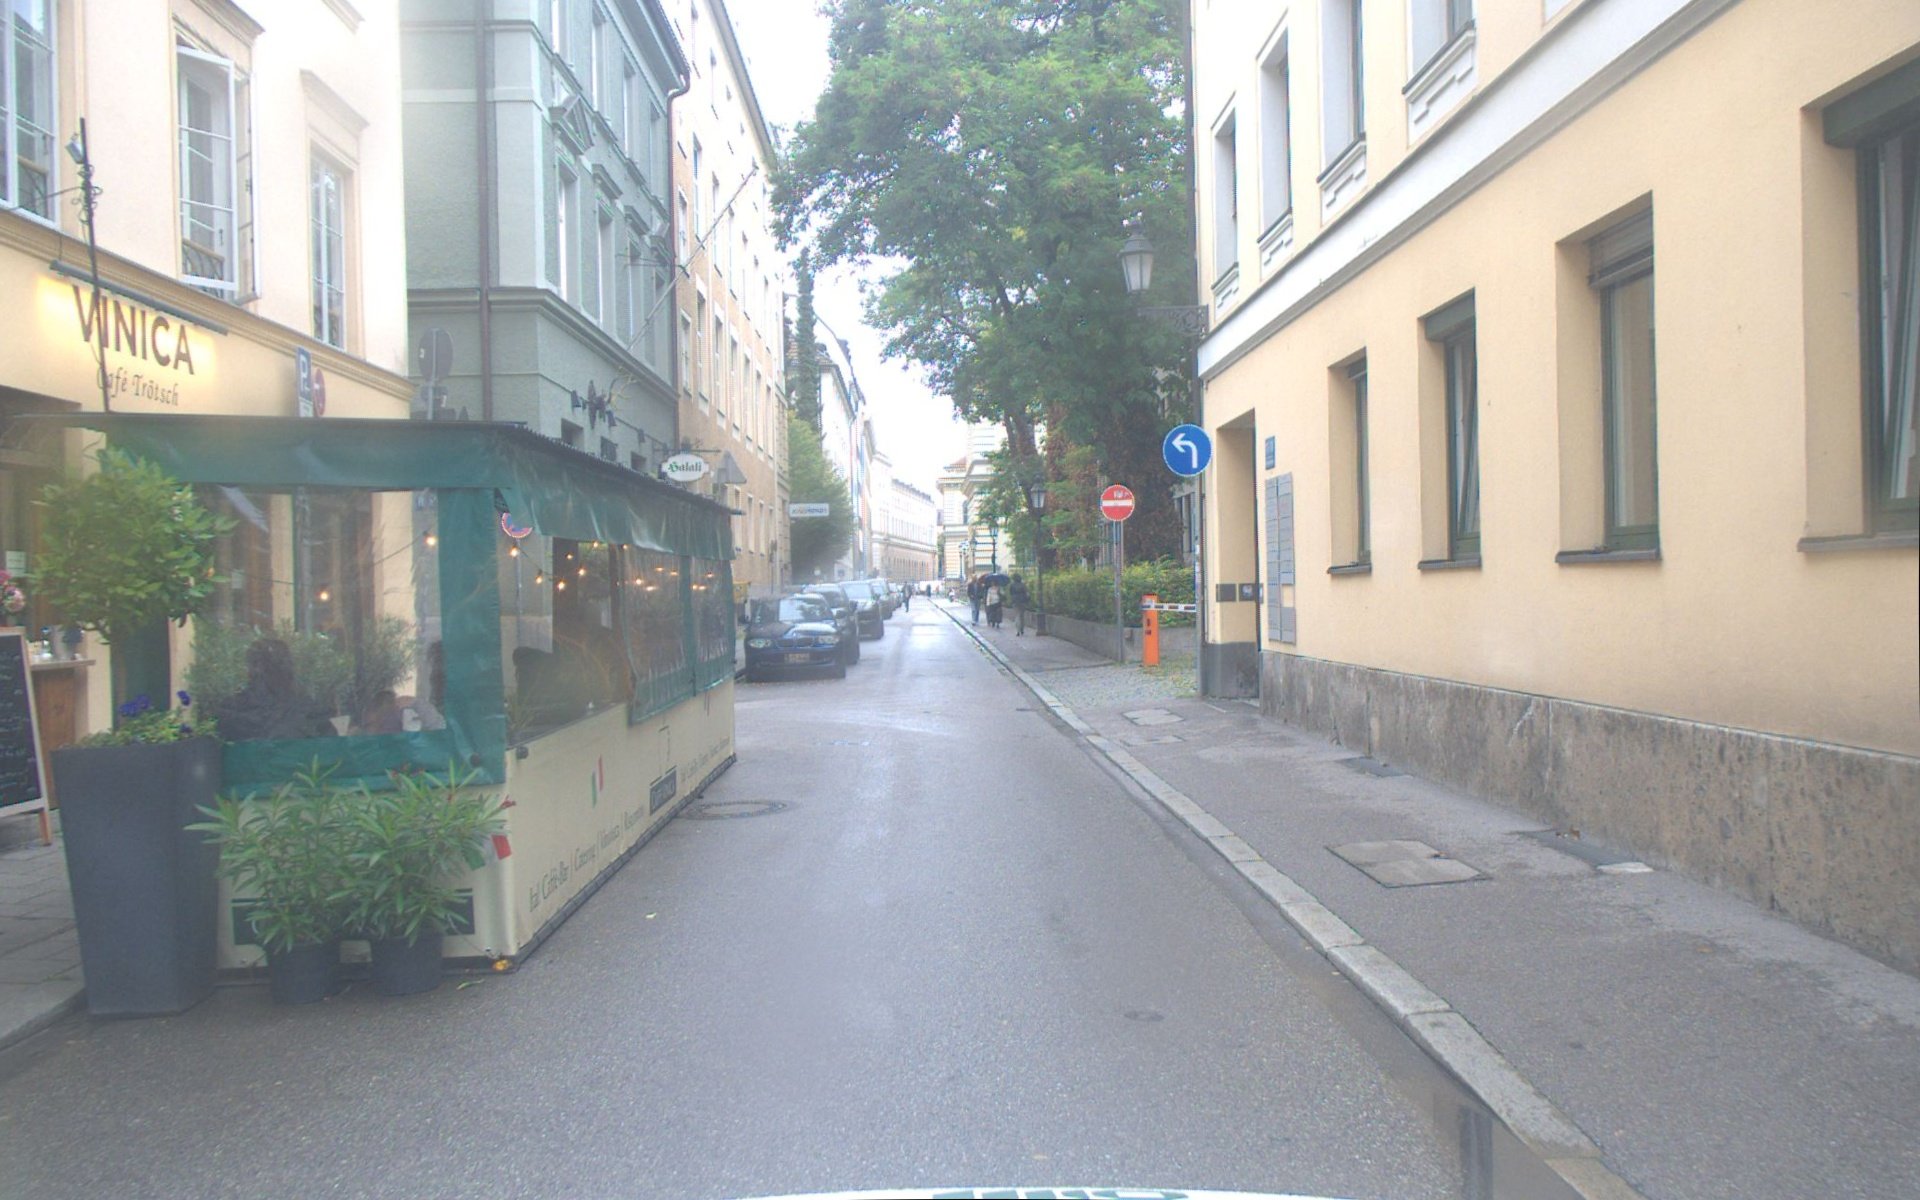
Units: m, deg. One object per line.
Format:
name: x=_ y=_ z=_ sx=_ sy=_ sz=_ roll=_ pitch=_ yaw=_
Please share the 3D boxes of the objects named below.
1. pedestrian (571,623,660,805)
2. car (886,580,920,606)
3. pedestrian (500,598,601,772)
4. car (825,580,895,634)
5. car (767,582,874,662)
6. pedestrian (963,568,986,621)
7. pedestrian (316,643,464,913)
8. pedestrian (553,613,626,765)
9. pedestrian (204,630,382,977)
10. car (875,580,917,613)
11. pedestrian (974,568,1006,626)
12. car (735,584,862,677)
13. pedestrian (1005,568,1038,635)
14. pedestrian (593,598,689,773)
pedestrian: x=-2.358 y=0.763 z=11.366 sx=0.499 sy=1.196 sz=0.630 roll=0 pitch=0 yaw=-3
car: x=-3.319 y=-0.427 z=96.337 sx=1.742 sy=1.492 sz=3.543 roll=0 pitch=1 yaw=1
pedestrian: x=-3.283 y=0.665 z=13.303 sx=0.660 sy=1.350 sz=0.696 roll=0 pitch=0 yaw=-3
car: x=-2.872 y=0.181 z=48.013 sx=1.742 sy=1.492 sz=3.543 roll=0 pitch=1 yaw=1
car: x=-2.734 y=0.399 z=33.059 sx=1.742 sy=1.492 sz=3.543 roll=0 pitch=1 yaw=1
pedestrian: x=0.499 y=-0.191 z=57.876 sx=0.777 sy=1.833 sz=0.903 roll=0 pitch=0 yaw=-1
pedestrian: x=-2.703 y=0.822 z=7.888 sx=0.499 sy=1.208 sz=0.630 roll=0 pitch=0 yaw=-3
pedestrian: x=-3.169 y=0.749 z=14.170 sx=0.499 sy=1.259 sz=0.630 roll=0 pitch=0 yaw=-3
pedestrian: x=-2.751 y=0.811 z=6.868 sx=0.499 sy=1.350 sz=0.630 roll=0 pitch=0 yaw=-3
car: x=-2.991 y=-0.173 z=77.742 sx=1.742 sy=1.492 sz=3.543 roll=0 pitch=1 yaw=1
pedestrian: x=0.954 y=-0.098 z=53.385 sx=0.995 sy=1.833 sz=1.349 roll=0 pitch=0 yaw=-1
car: x=-2.719 y=0.479 z=28.596 sx=1.742 sy=1.492 sz=3.663 roll=0 pitch=1 yaw=1
pedestrian: x=1.695 y=0.032 z=45.828 sx=0.862 sy=1.833 sz=1.046 roll=0 pitch=0 yaw=-1
pedestrian: x=-2.540 y=0.662 z=13.222 sx=0.660 sy=1.350 sz=0.696 roll=0 pitch=0 yaw=-3
